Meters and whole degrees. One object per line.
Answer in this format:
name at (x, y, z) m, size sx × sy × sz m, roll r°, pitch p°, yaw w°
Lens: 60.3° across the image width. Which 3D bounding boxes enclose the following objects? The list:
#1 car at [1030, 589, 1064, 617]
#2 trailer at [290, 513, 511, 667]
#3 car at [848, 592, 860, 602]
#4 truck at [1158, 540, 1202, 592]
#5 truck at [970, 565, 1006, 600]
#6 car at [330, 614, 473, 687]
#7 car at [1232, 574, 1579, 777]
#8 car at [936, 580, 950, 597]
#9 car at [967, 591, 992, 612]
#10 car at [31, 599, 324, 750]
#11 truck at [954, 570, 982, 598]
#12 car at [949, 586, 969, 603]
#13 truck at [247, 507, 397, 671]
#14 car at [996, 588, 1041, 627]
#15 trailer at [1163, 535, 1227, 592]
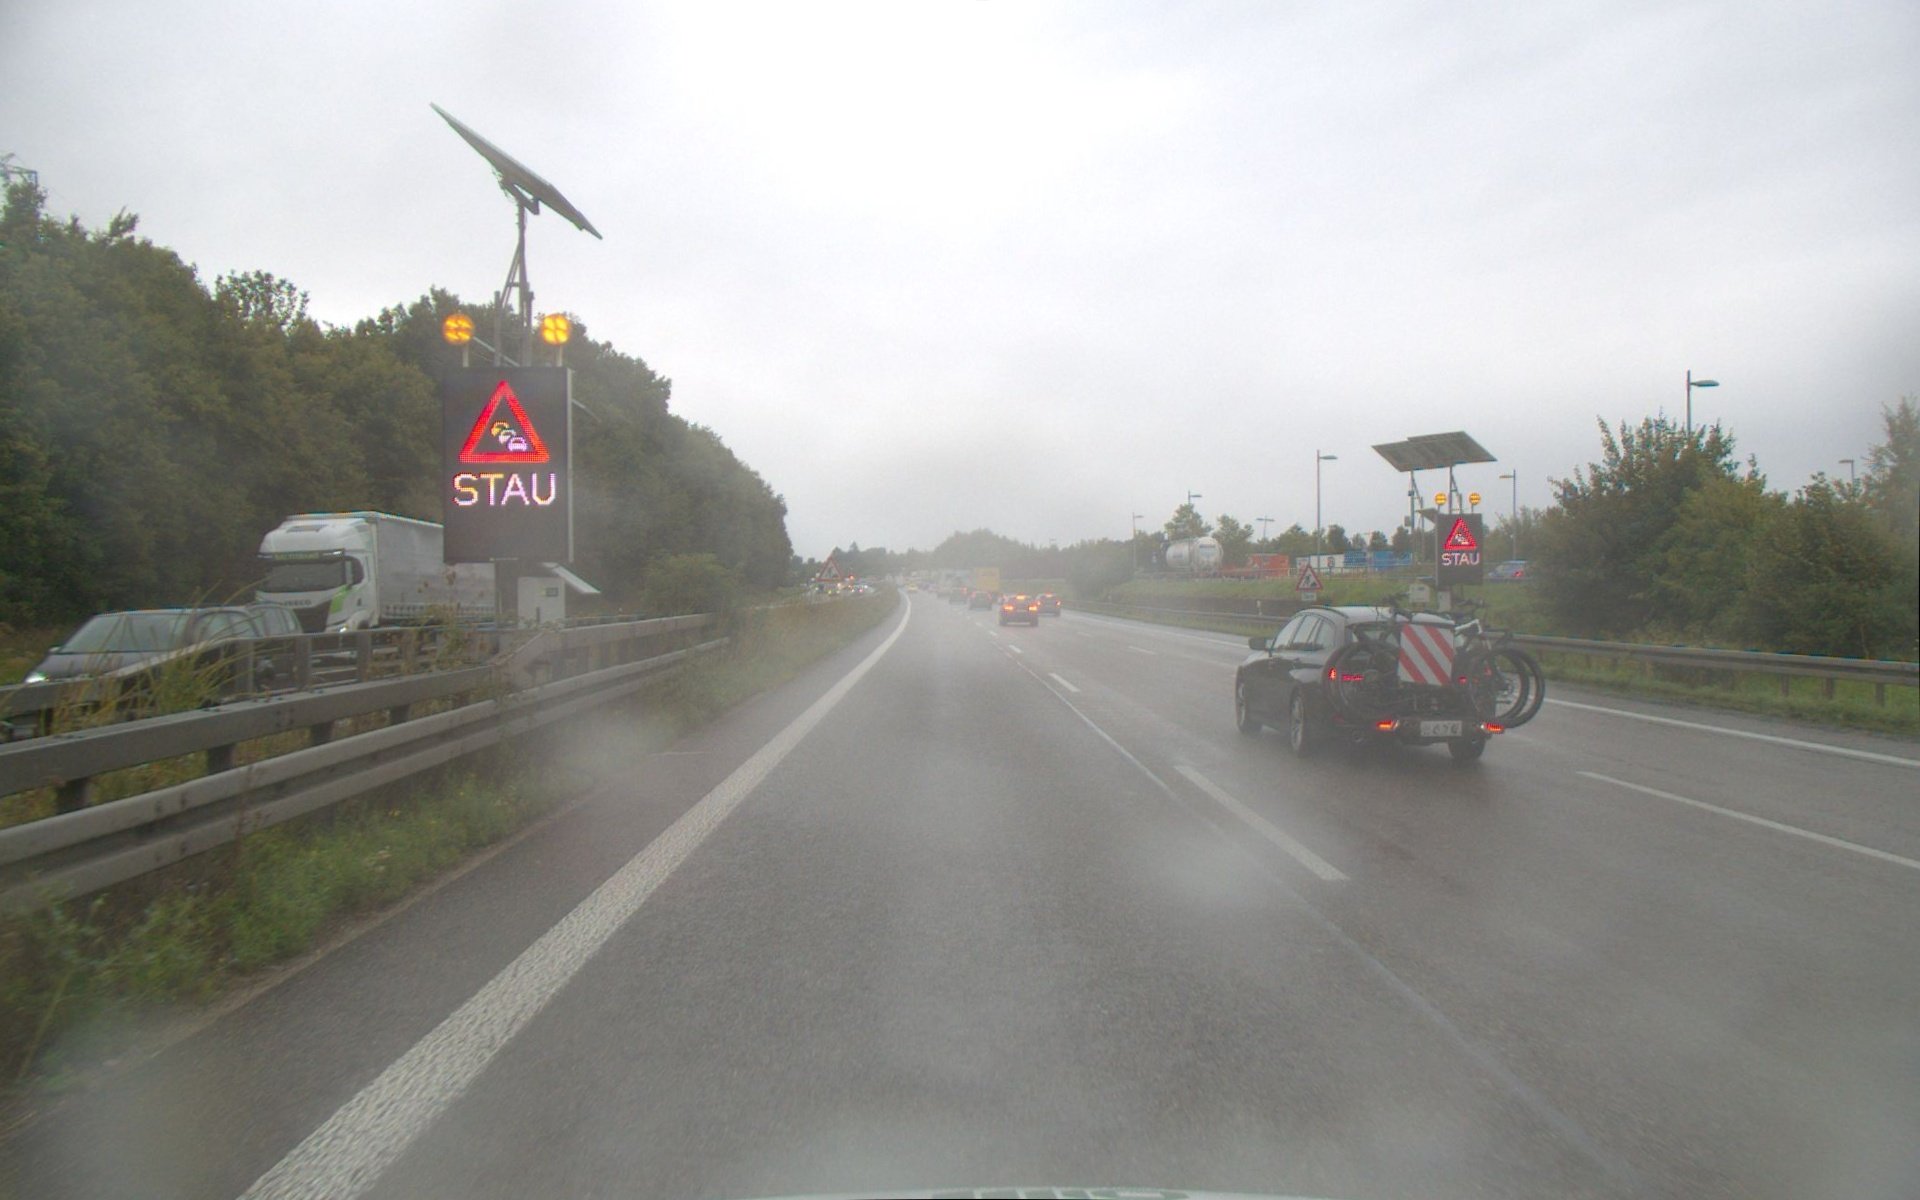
car at (5.862, 0.197, 112.050) m, size 1.953 × 1.791 × 3.999 m, roll -1°, pitch 0°, yaw -1°
trailer at (-17.696, -0.326, 53.715) m, size 2.590 × 4.311 × 13.909 m, roll -1°, pitch 0°, yaw -1°
car at (-16.407, -0.445, 256.042) m, size 1.644 × 1.422 × 3.999 m, roll -1°, pitch 0°, yaw -1°
truck at (18.343, -2.768, 137.954) m, size 2.889 × 4.218 × 4.921 m, roll -1°, pitch 0°, yaw -1°
truck at (3.347, -2.030, 200.738) m, size 3.844 × 4.051 × 12.236 m, roll -1°, pitch 0°, yaw -1°
car at (-13.073, 1.146, 39.030) m, size 1.836 × 1.519 × 4.513 m, roll -2°, pitch 0°, yaw -1°
car at (4.256, 0.681, 16.862) m, size 2.016 × 1.701 × 5.521 m, roll 1°, pitch -1°, yaw 0°
car at (-2.415, -1.578, 231.177) m, size 1.953 × 2.244 × 3.999 m, roll -1°, pitch 0°, yaw -1°
car at (1.572, 0.081, 135.648) m, size 1.953 × 1.657 × 3.999 m, roll -1°, pitch 0°, yaw -1°
car at (-9.150, 0.800, 19.723) m, size 1.630 × 1.569 × 3.999 m, roll -1°, pitch 0°, yaw -1°
truck at (1.149, -2.305, 243.179) m, size 3.844 × 4.051 × 12.236 m, roll -1°, pitch 0°, yaw -1°
car at (-0.128, -0.588, 175.798) m, size 1.953 × 1.657 × 3.999 m, roll -1°, pitch 0°, yaw -1°
truck at (-17.596, -0.293, 45.841) m, size 2.590 × 4.311 × 3.999 m, roll -1°, pitch 0°, yaw -1°
car at (2.810, 0.344, 80.087) m, size 1.953 × 1.791 × 3.999 m, roll -1°, pitch 0°, yaw -1°
trailer at (18.480, -2.761, 130.837) m, size 2.924 × 4.229 × 12.953 m, roll -1°, pitch 0°, yaw -1°
